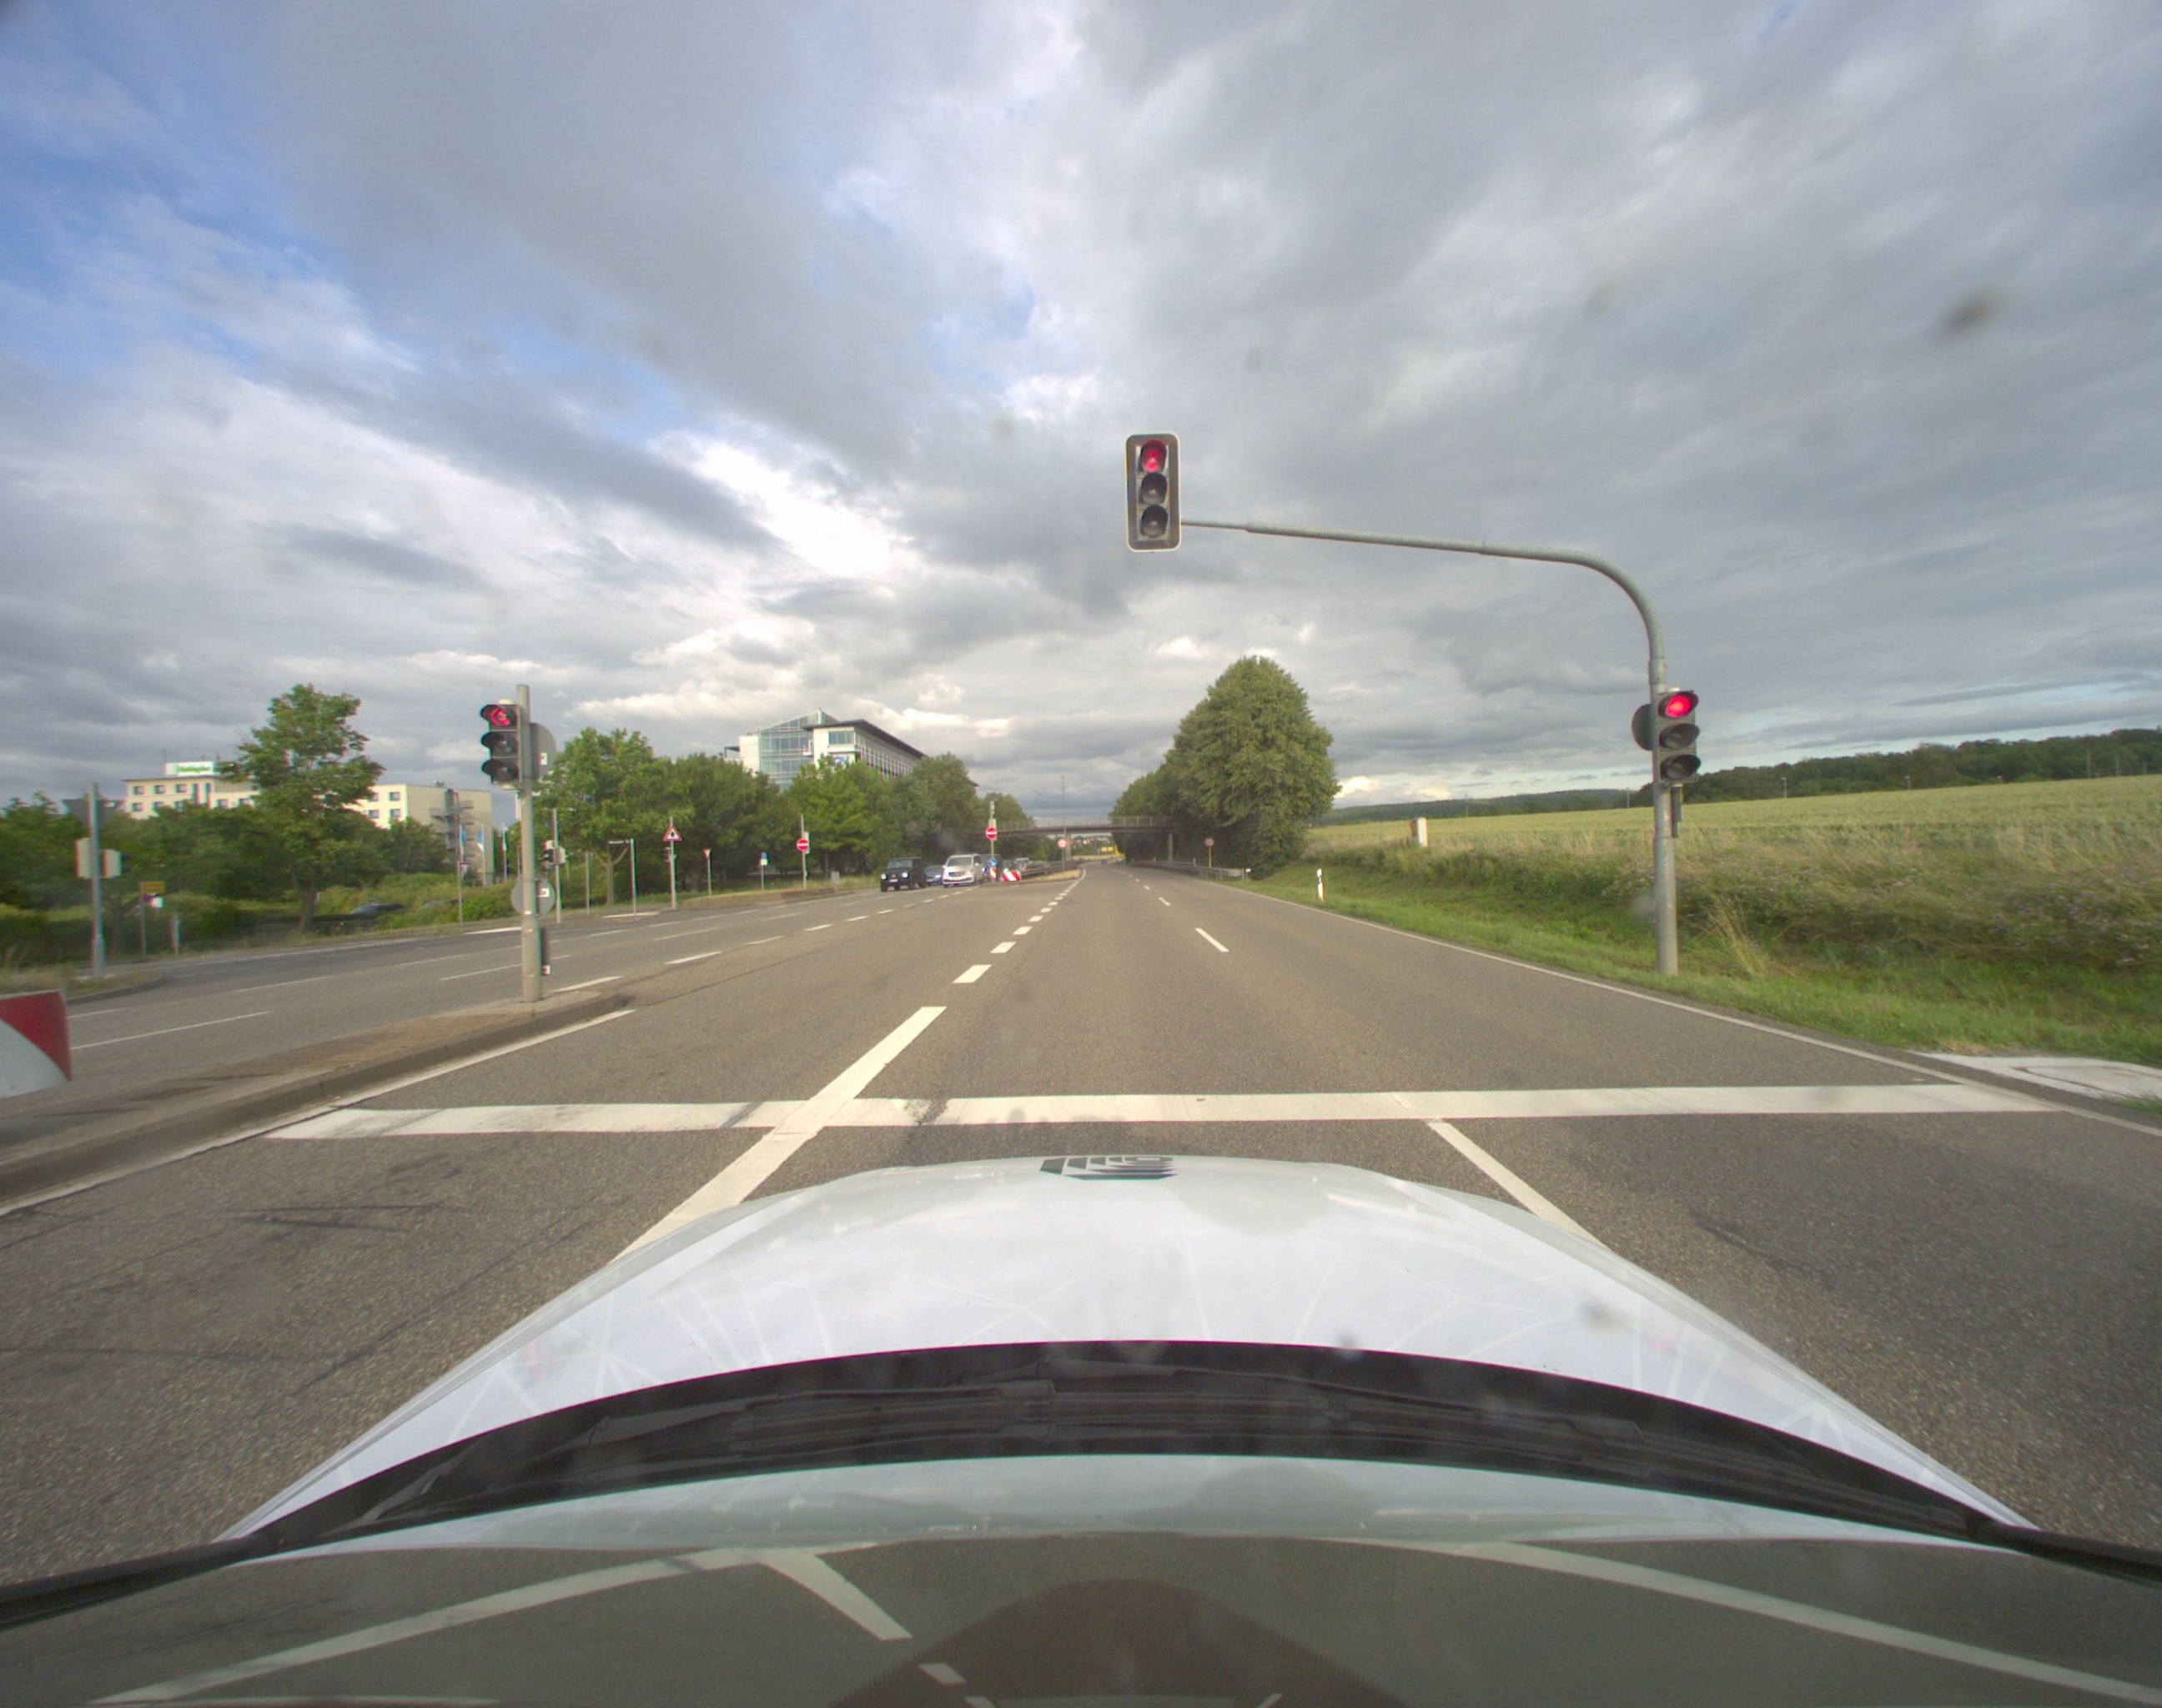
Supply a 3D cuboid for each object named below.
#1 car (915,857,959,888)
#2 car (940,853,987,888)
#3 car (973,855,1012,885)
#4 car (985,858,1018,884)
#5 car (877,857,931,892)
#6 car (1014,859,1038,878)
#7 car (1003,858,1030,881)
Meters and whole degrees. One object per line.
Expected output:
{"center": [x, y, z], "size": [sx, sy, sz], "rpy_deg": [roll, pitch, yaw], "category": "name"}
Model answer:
{"center": [-10.022, 1.260, 57.122], "size": [2.076, 2.014, 5.216], "rpy_deg": [0, -1, 1], "category": "car"}
{"center": [-7.098, 0.971, 49.660], "size": [2.076, 2.014, 5.216], "rpy_deg": [0, -1, 1], "category": "car"}
{"center": [-6.181, 1.080, 57.378], "size": [2.076, 2.014, 5.216], "rpy_deg": [0, -1, 1], "category": "car"}
{"center": [-6.263, 1.316, 64.949], "size": [2.076, 2.014, 5.216], "rpy_deg": [0, -1, 1], "category": "car"}
{"center": [-10.719, 1.195, 49.634], "size": [2.076, 2.014, 5.216], "rpy_deg": [0, -1, 1], "category": "car"}
{"center": [-5.754, 1.502, 85.747], "size": [2.076, 2.014, 5.216], "rpy_deg": [0, -1, 1], "category": "car"}
{"center": [-5.994, 1.414, 75.929], "size": [2.076, 2.014, 5.216], "rpy_deg": [0, -1, 1], "category": "car"}
